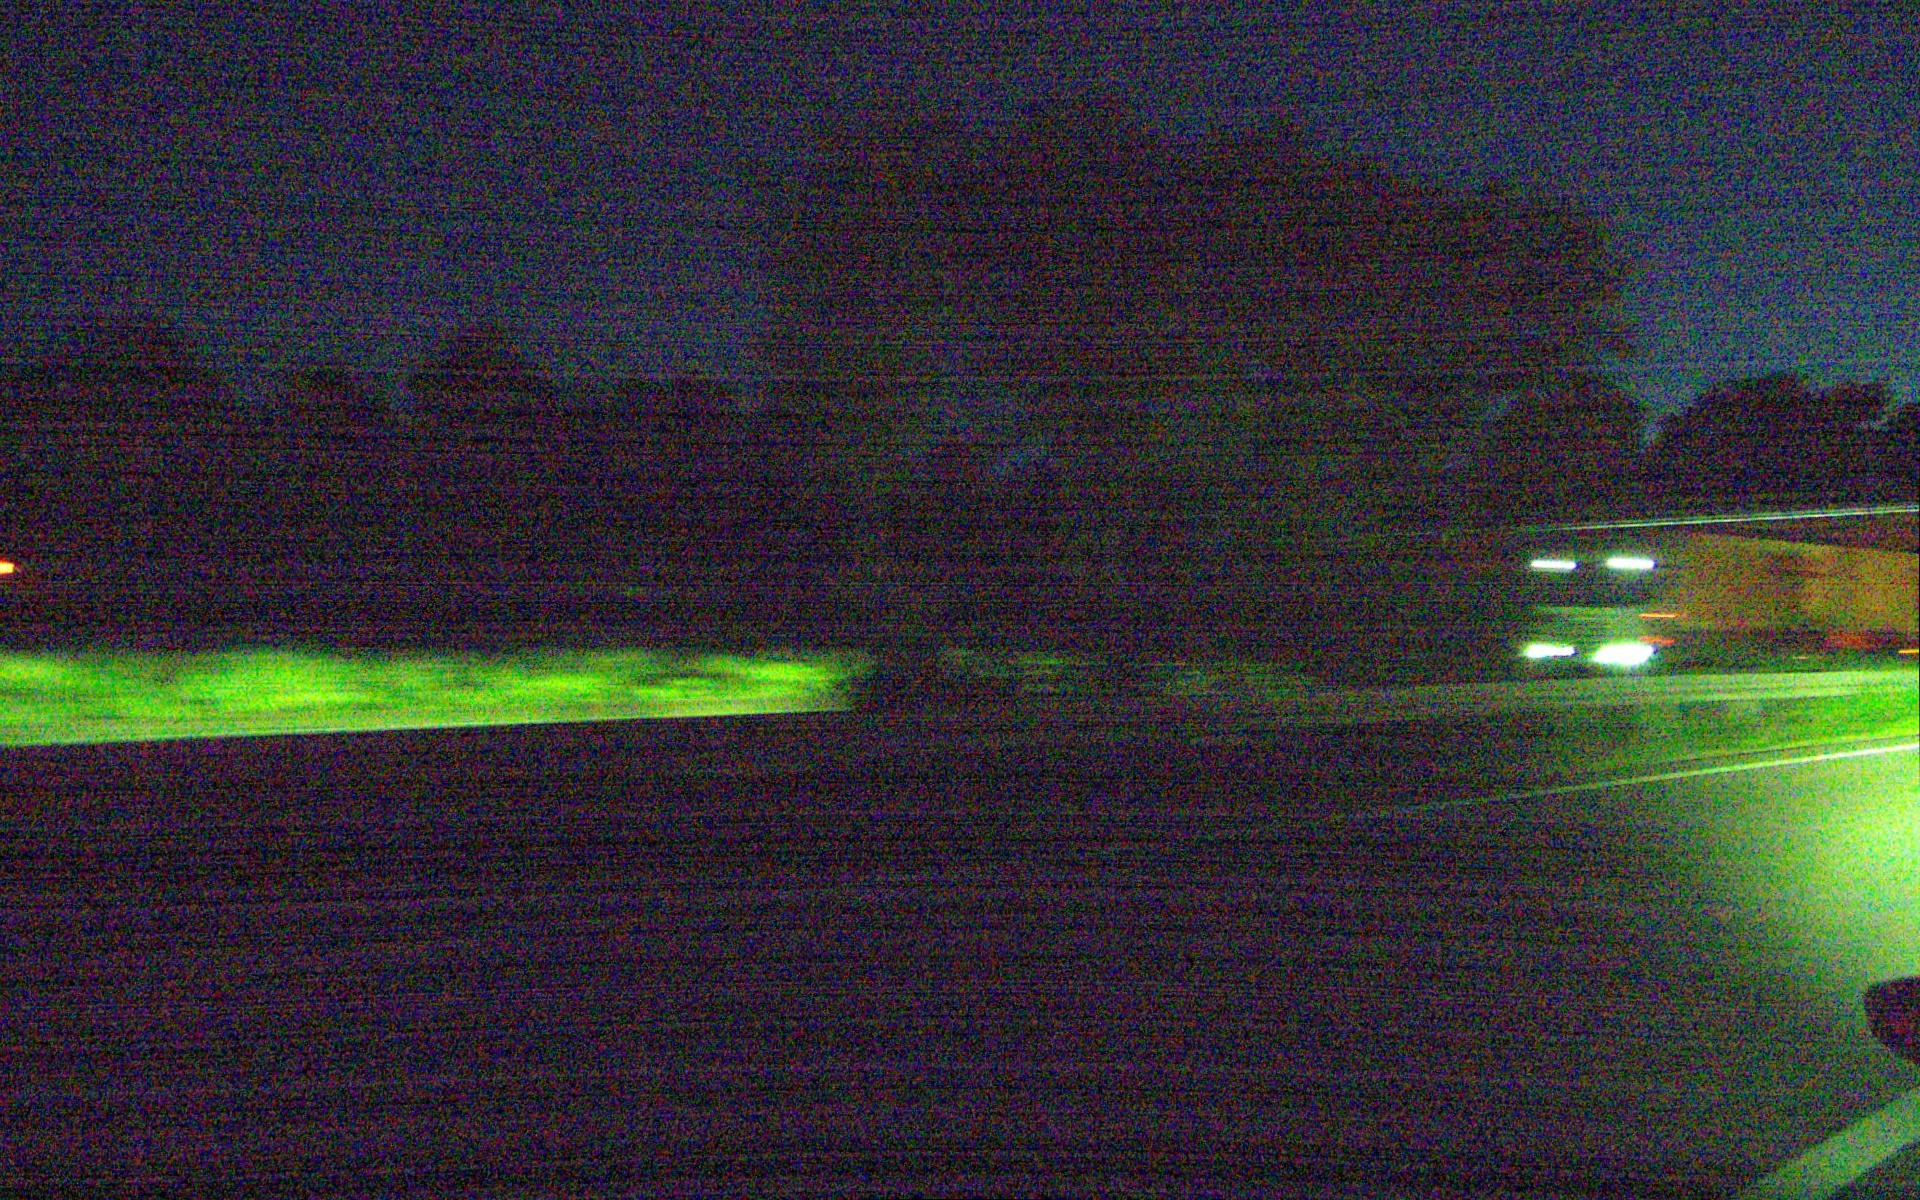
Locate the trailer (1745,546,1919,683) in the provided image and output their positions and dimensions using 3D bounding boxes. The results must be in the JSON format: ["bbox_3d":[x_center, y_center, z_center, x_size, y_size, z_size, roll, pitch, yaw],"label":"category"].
[{"bbox_3d":[29.373,0.516,32.538,8.930,4.009,2.708,1,-2,-27],"label":"trailer"}]

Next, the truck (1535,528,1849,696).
[{"bbox_3d":[20.747,0.401,28.207,10.516,4.098,2.671,1,-2,-27],"label":"truck"}]
